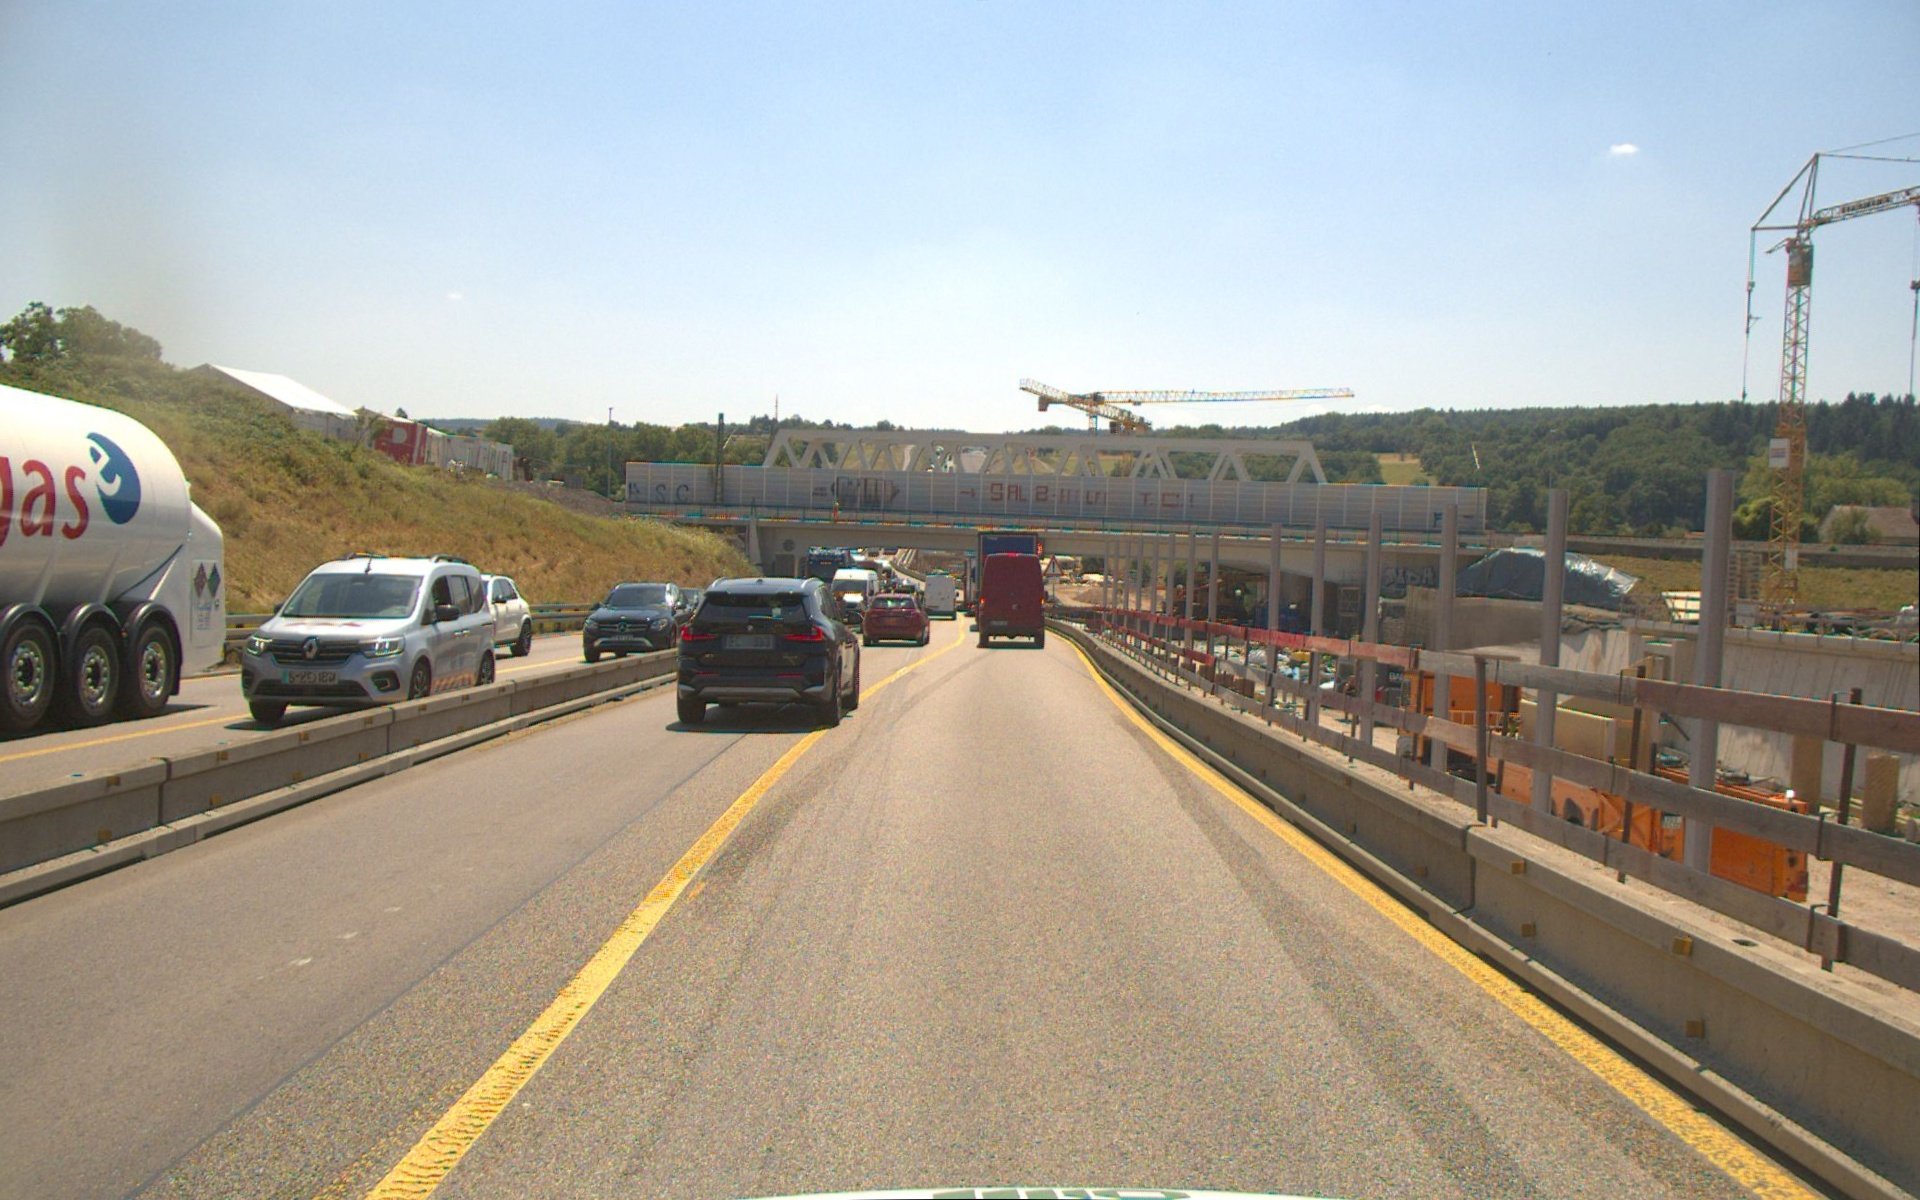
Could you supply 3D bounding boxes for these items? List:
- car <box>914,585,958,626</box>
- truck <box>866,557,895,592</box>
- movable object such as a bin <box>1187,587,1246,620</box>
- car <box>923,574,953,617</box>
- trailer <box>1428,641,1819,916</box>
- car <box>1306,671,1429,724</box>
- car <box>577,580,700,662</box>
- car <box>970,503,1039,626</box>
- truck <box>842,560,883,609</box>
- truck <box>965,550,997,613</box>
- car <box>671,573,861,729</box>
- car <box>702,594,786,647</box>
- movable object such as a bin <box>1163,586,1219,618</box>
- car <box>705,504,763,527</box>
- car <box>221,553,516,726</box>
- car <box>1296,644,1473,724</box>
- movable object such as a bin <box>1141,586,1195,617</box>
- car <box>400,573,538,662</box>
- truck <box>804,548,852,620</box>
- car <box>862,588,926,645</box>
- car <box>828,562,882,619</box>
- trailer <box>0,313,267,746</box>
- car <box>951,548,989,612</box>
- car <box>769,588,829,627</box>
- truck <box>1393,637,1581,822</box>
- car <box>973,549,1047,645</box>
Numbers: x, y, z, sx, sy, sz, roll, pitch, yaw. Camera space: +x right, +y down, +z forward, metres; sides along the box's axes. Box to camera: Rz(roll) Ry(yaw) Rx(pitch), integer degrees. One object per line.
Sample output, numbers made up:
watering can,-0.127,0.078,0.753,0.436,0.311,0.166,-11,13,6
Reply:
car,-1.045,0.208,70.784,1.802,1.683,4.164,0,1,-2
truck,-9.042,-2.899,189.407,2.777,3.919,12.910,1,1,-1
movable object such as a bin,22.705,0.296,146.597,5.038,2.856,2.144,1,0,5
car,-1.313,-0.301,97.291,1.740,2.484,4.205,0,1,-1
trailer,12.661,3.073,33.487,2.702,3.954,13.050,1,1,0
car,17.226,4.118,70.049,4.631,1.804,2.001,3,2,0
car,-6.925,0.394,36.072,1.754,1.639,4.733,1,1,0
car,1.889,-1.536,73.699,2.568,5.120,10.395,0,1,-1
truck,-8.219,-1.371,140.589,2.777,3.919,12.910,1,1,-1
truck,1.991,-1.688,153.017,2.776,5.493,12.914,1,1,1
car,-2.189,0.509,19.772,1.841,1.646,4.498,0,1,-1
car,-6.601,0.588,51.075,1.921,1.489,4.940,1,1,0
movable object such as a bin,21.425,0.172,153.499,5.038,2.856,2.144,1,0,5
car,-19.157,-7.196,140.189,4.456,1.814,1.962,1,1,12
car,-6.687,0.382,19.268,1.841,1.775,4.482,0,1,0
car,16.222,3.216,63.422,5.978,2.629,2.524,2,2,-10
movable object such as a bin,19.952,0.102,158.598,5.038,2.856,2.144,1,0,5
car,-10.510,0.319,35.727,1.754,1.793,4.536,0,1,-2
truck,-7.665,-0.948,96.331,2.309,4.085,4.000,1,0,1
car,-1.877,0.440,48.045,1.740,1.544,4.205,0,1,-1
car,-5.128,-0.507,81.580,1.952,2.652,7.012,1,1,2
trailer,-9.839,-0.647,14.646,2.537,3.868,11.915,1,1,-1
car,0.618,-1.356,113.220,2.400,4.233,6.859,0,1,-1
car,-6.391,0.267,66.014,1.763,1.472,4.638,1,1,2
truck,12.701,2.994,40.388,2.702,3.954,5.882,1,1,0
car,1.442,-0.116,49.411,1.948,2.737,4.623,0,1,-1
